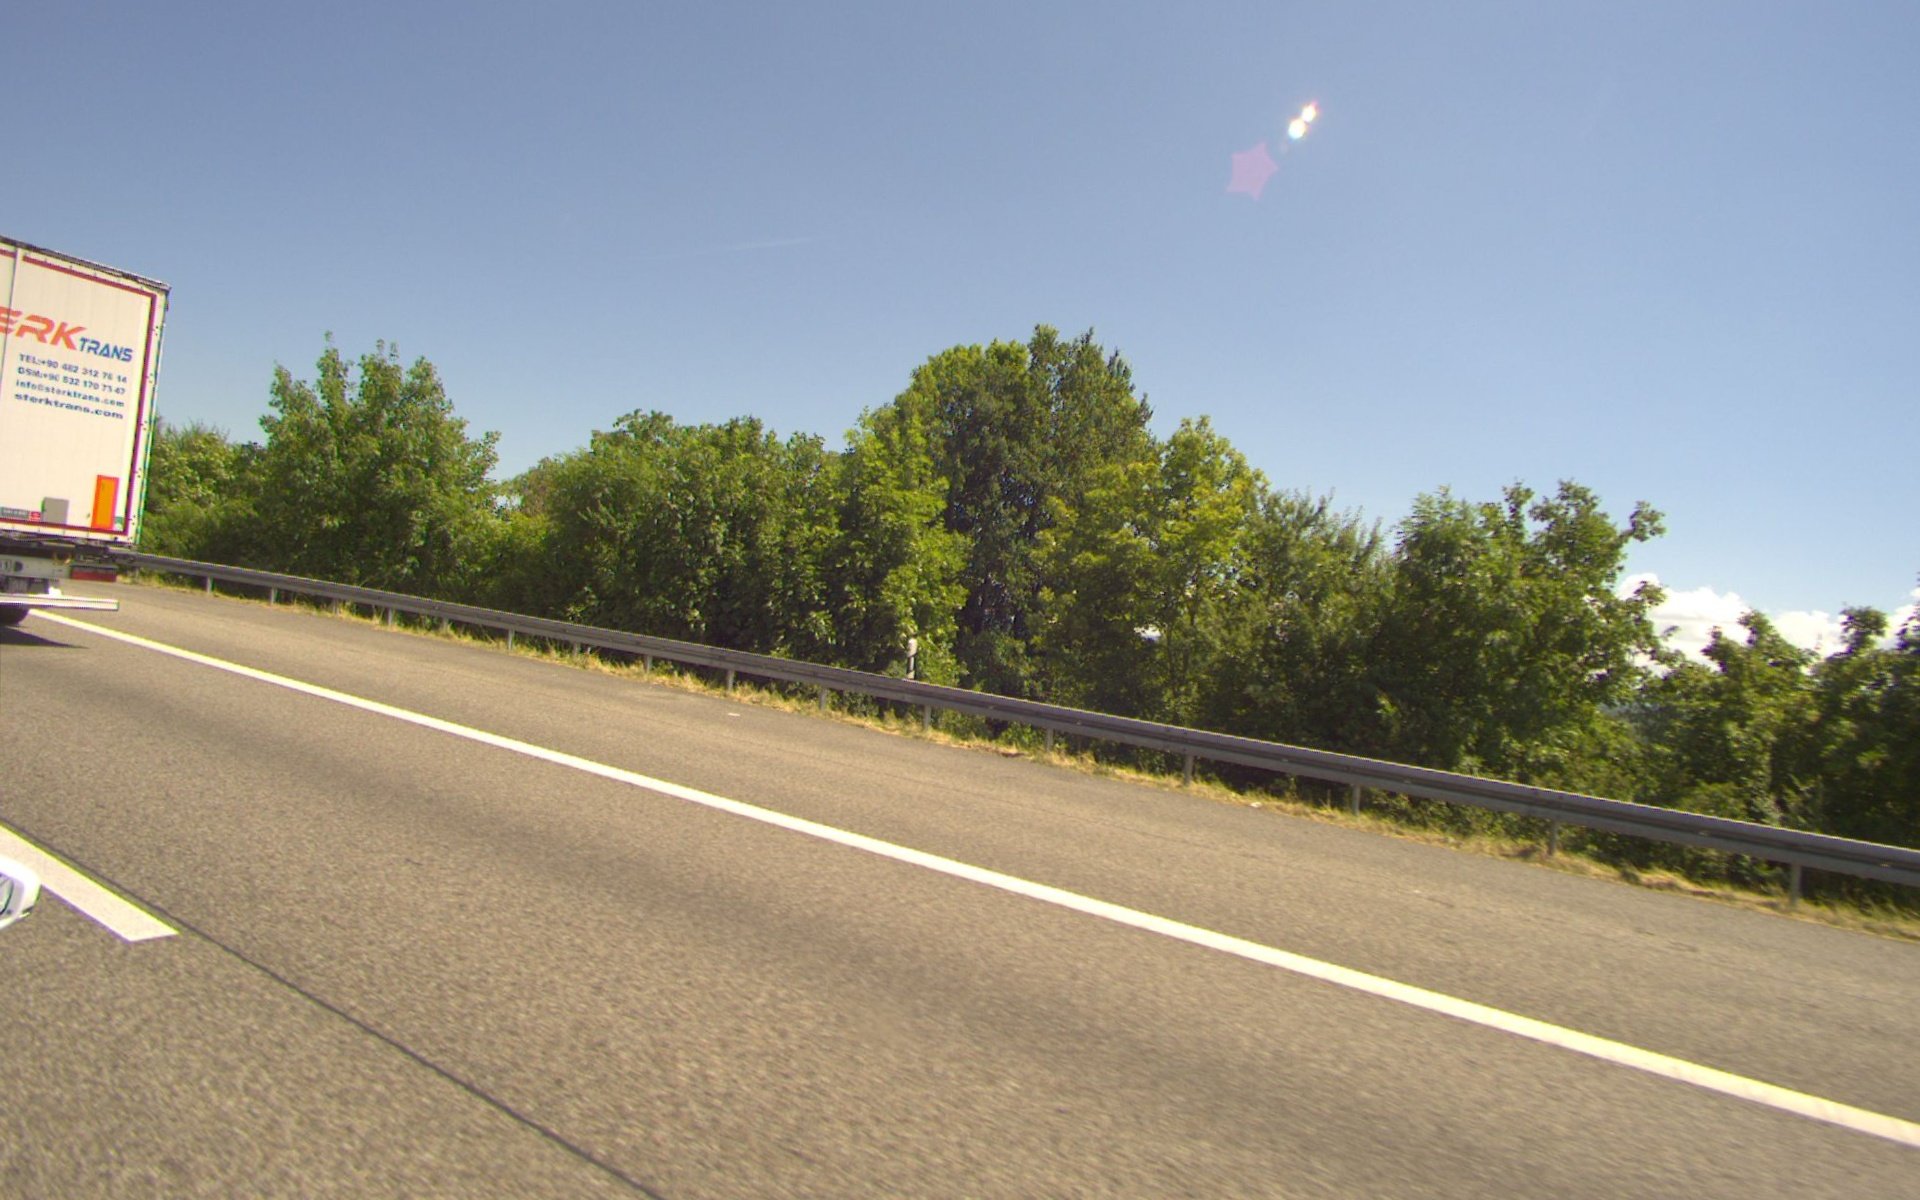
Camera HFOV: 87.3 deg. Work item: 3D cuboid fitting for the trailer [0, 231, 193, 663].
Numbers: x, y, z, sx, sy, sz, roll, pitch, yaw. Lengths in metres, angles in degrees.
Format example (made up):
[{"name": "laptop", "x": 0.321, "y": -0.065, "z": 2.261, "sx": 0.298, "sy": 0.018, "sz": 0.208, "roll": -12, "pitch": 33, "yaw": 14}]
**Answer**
[{"name": "trailer", "x": -15.333, "y": -2.166, "z": 13.456, "sx": 13.913, "sy": 4.136, "sz": 2.713, "roll": 7, "pitch": -1, "yaw": 31}]
